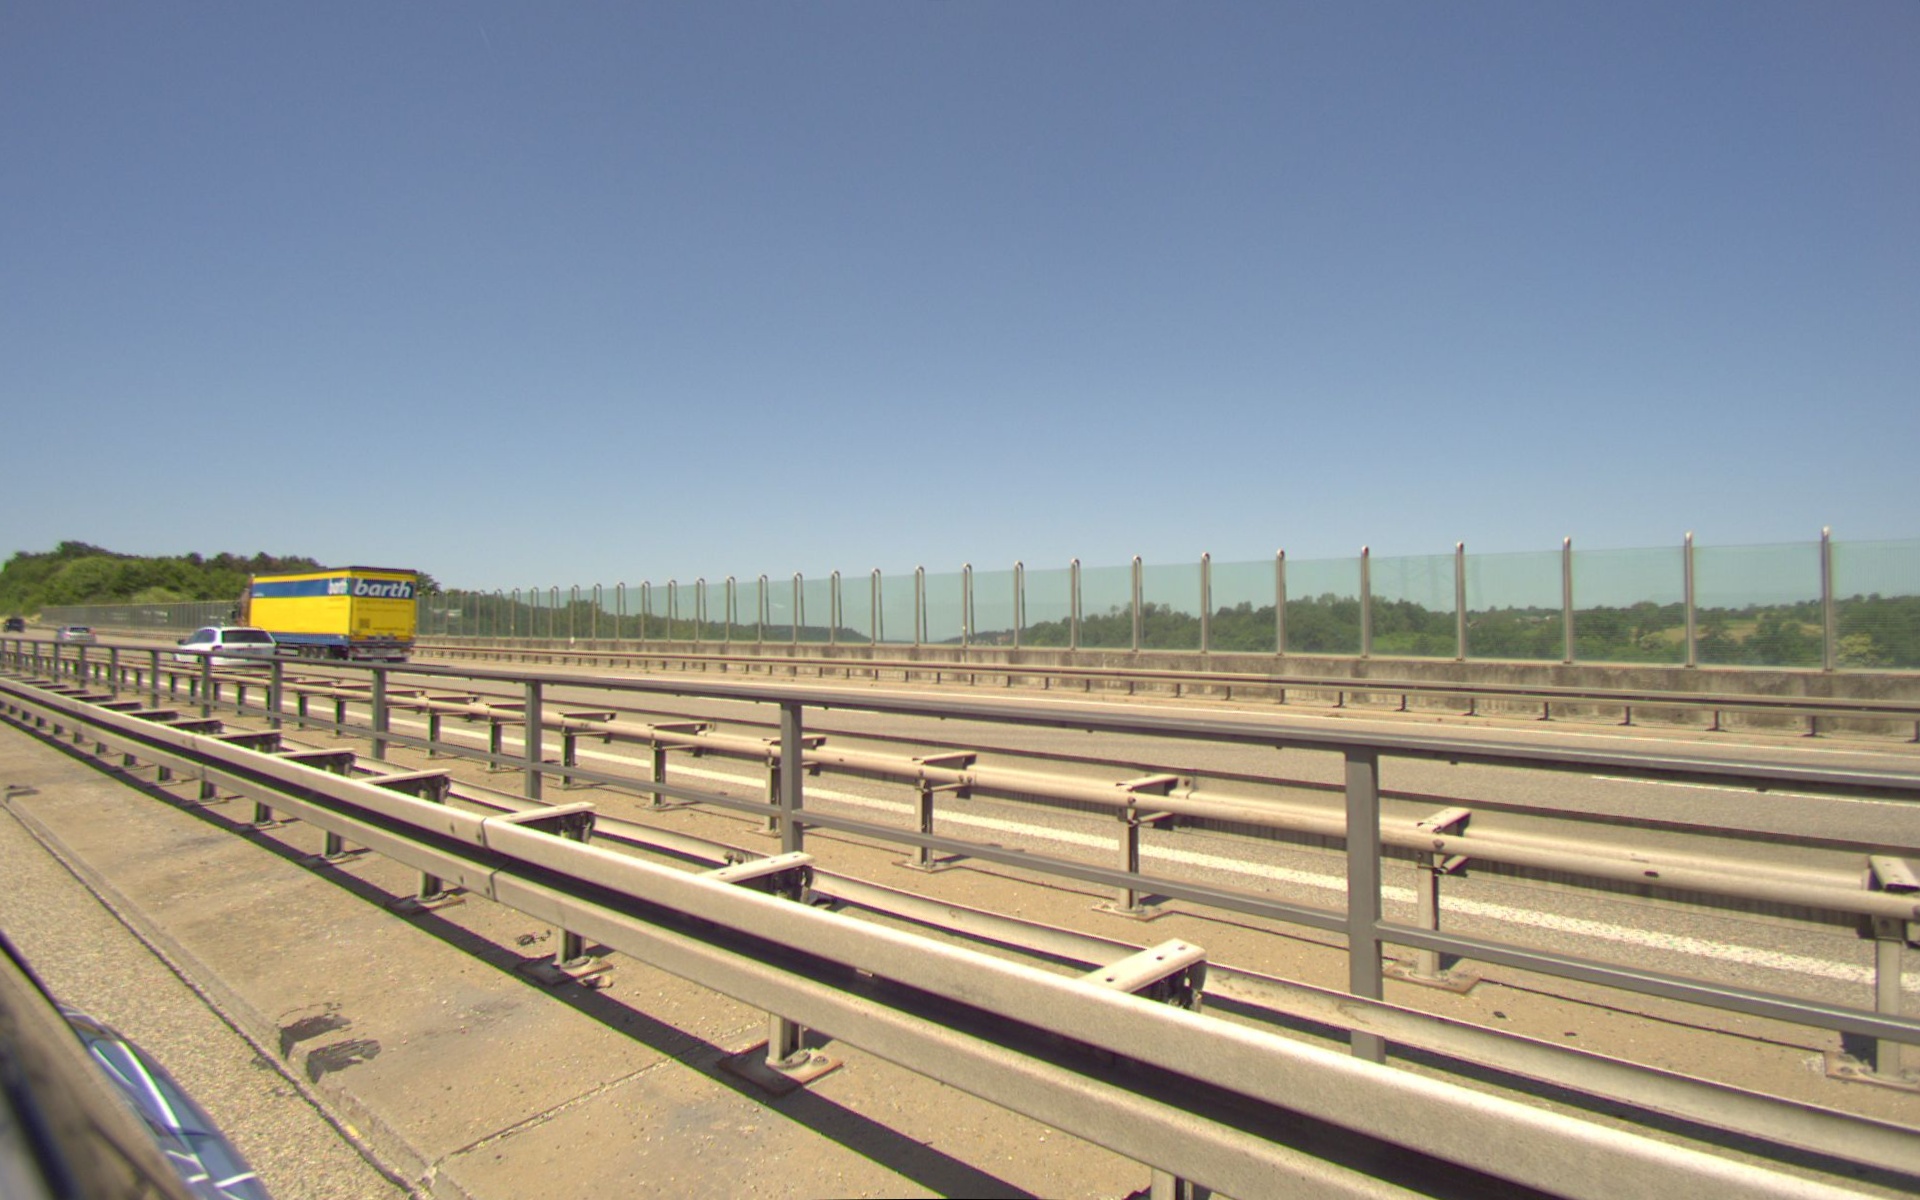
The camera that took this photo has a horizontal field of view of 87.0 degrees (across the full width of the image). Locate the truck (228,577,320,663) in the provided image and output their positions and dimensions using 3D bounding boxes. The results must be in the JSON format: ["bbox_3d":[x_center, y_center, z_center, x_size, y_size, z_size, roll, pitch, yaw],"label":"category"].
[{"bbox_3d":[-34.491,1.034,50.835,5.540,4.089,2.389,-1,-3,41],"label":"truck"}]

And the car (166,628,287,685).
[{"bbox_3d":[-20.427,1.536,28.124,4.284,1.460,1.739,-1,-3,40],"label":"car"}]

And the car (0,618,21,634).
[{"bbox_3d":[-124.144,3.388,132.059,3.967,2.029,1.995,-1,0,41],"label":"car"}]

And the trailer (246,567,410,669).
[{"bbox_3d":[-28.982,0.884,45.935,13.795,4.095,2.397,-2,-3,41],"label":"trailer"}]

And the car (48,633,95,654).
[{"bbox_3d":[-59.286,2.902,67.481,4.075,1.392,1.744,-1,-3,40],"label":"car"}]
